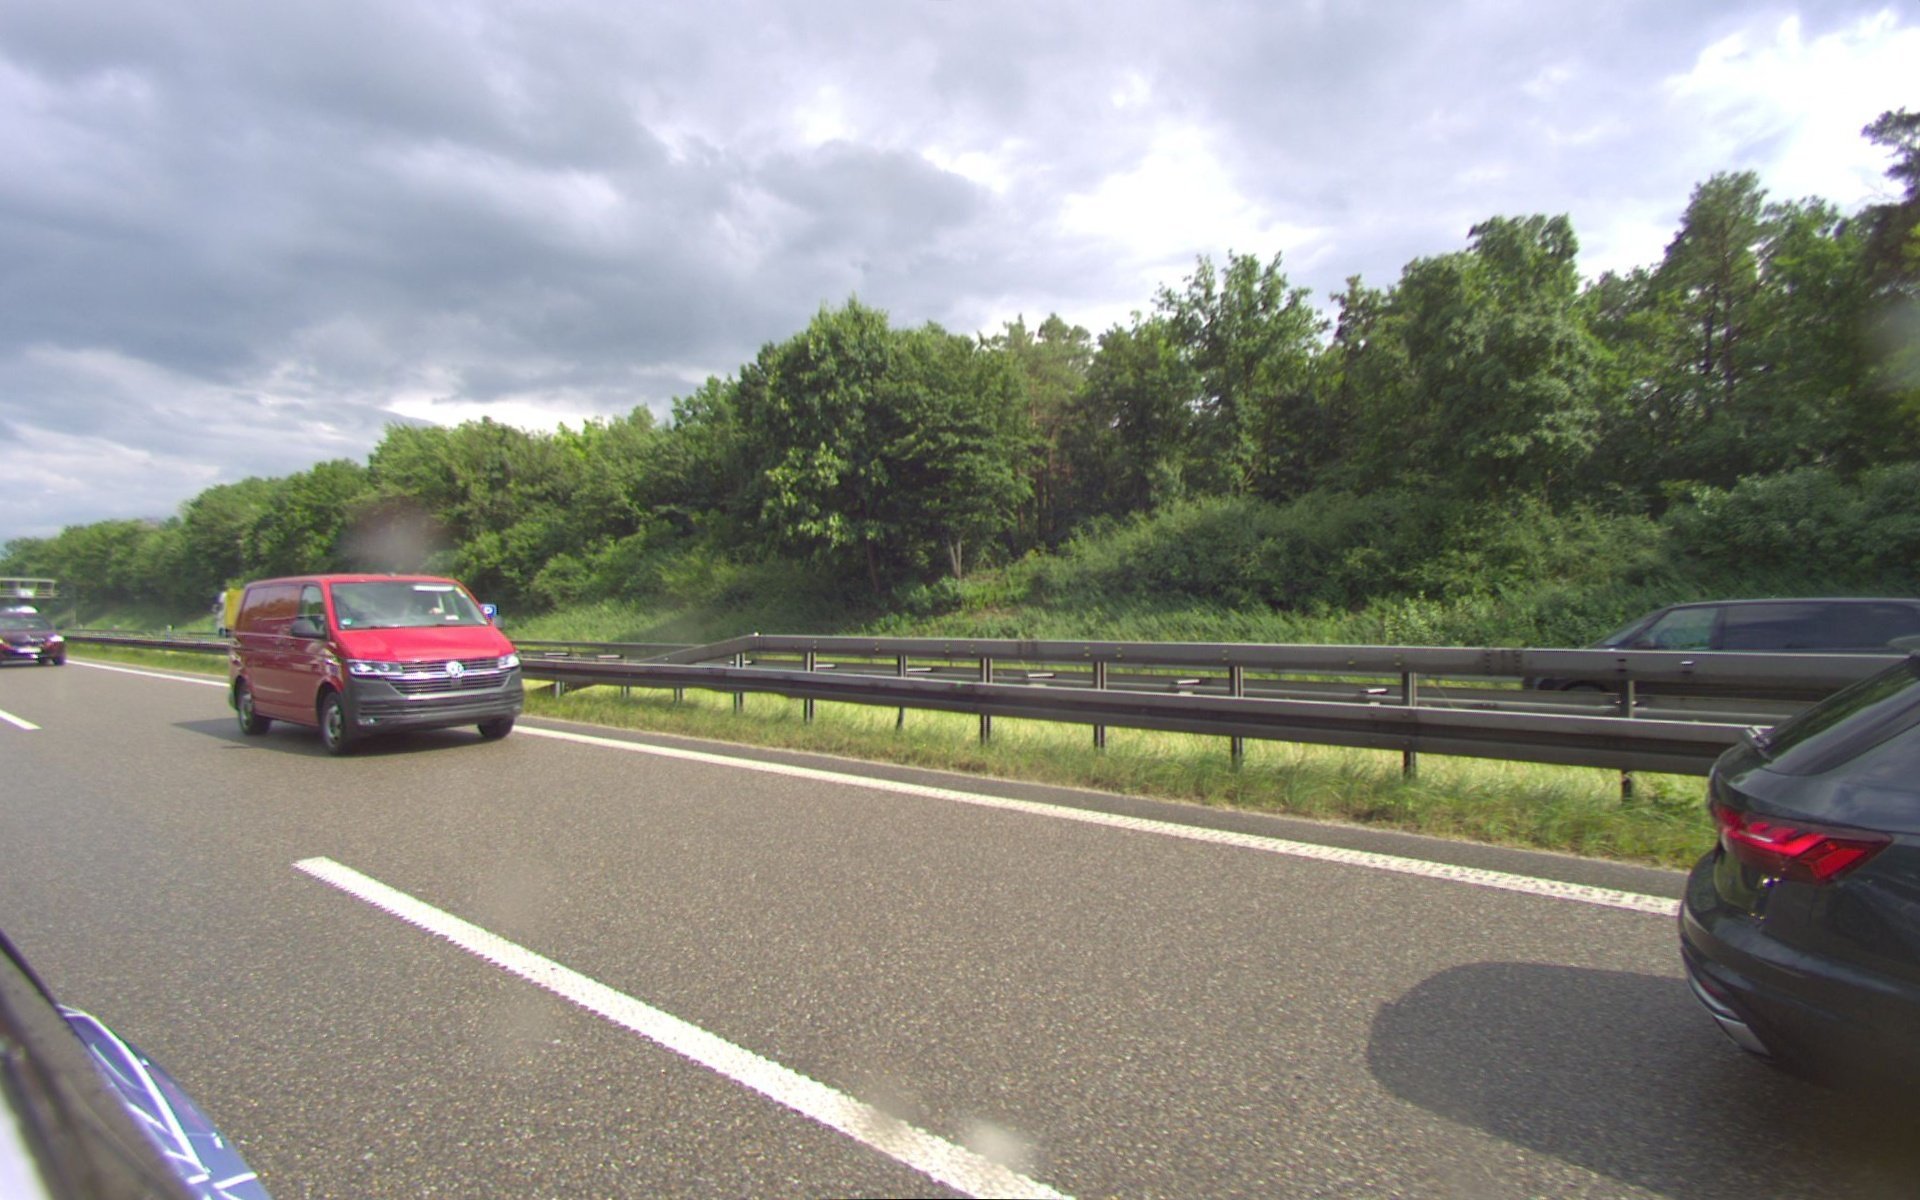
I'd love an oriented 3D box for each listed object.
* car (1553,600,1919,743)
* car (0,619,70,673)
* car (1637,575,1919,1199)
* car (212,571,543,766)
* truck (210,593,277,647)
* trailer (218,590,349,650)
[{"bbox_3d":[10.429,0.851,13.593,3.998,1.646,1.729,-1,0,41],"label":"car"},{"bbox_3d":[-29.310,1.372,31.335,4.836,1.508,1.983,-1,0,40],"label":"car"},{"bbox_3d":[4.129,0.626,1.672,4.836,1.429,1.776,-1,0,41],"label":"car"},{"bbox_3d":[-7.062,0.677,12.033,4.836,1.880,1.902,-1,0,41],"label":"car"},{"bbox_3d":[-51.727,1.413,73.032,5.326,3.692,2.695,-1,0,40],"label":"truck"},{"bbox_3d":[-45.662,1.315,67.936,16.662,3.672,2.695,-1,0,40],"label":"trailer"}]
